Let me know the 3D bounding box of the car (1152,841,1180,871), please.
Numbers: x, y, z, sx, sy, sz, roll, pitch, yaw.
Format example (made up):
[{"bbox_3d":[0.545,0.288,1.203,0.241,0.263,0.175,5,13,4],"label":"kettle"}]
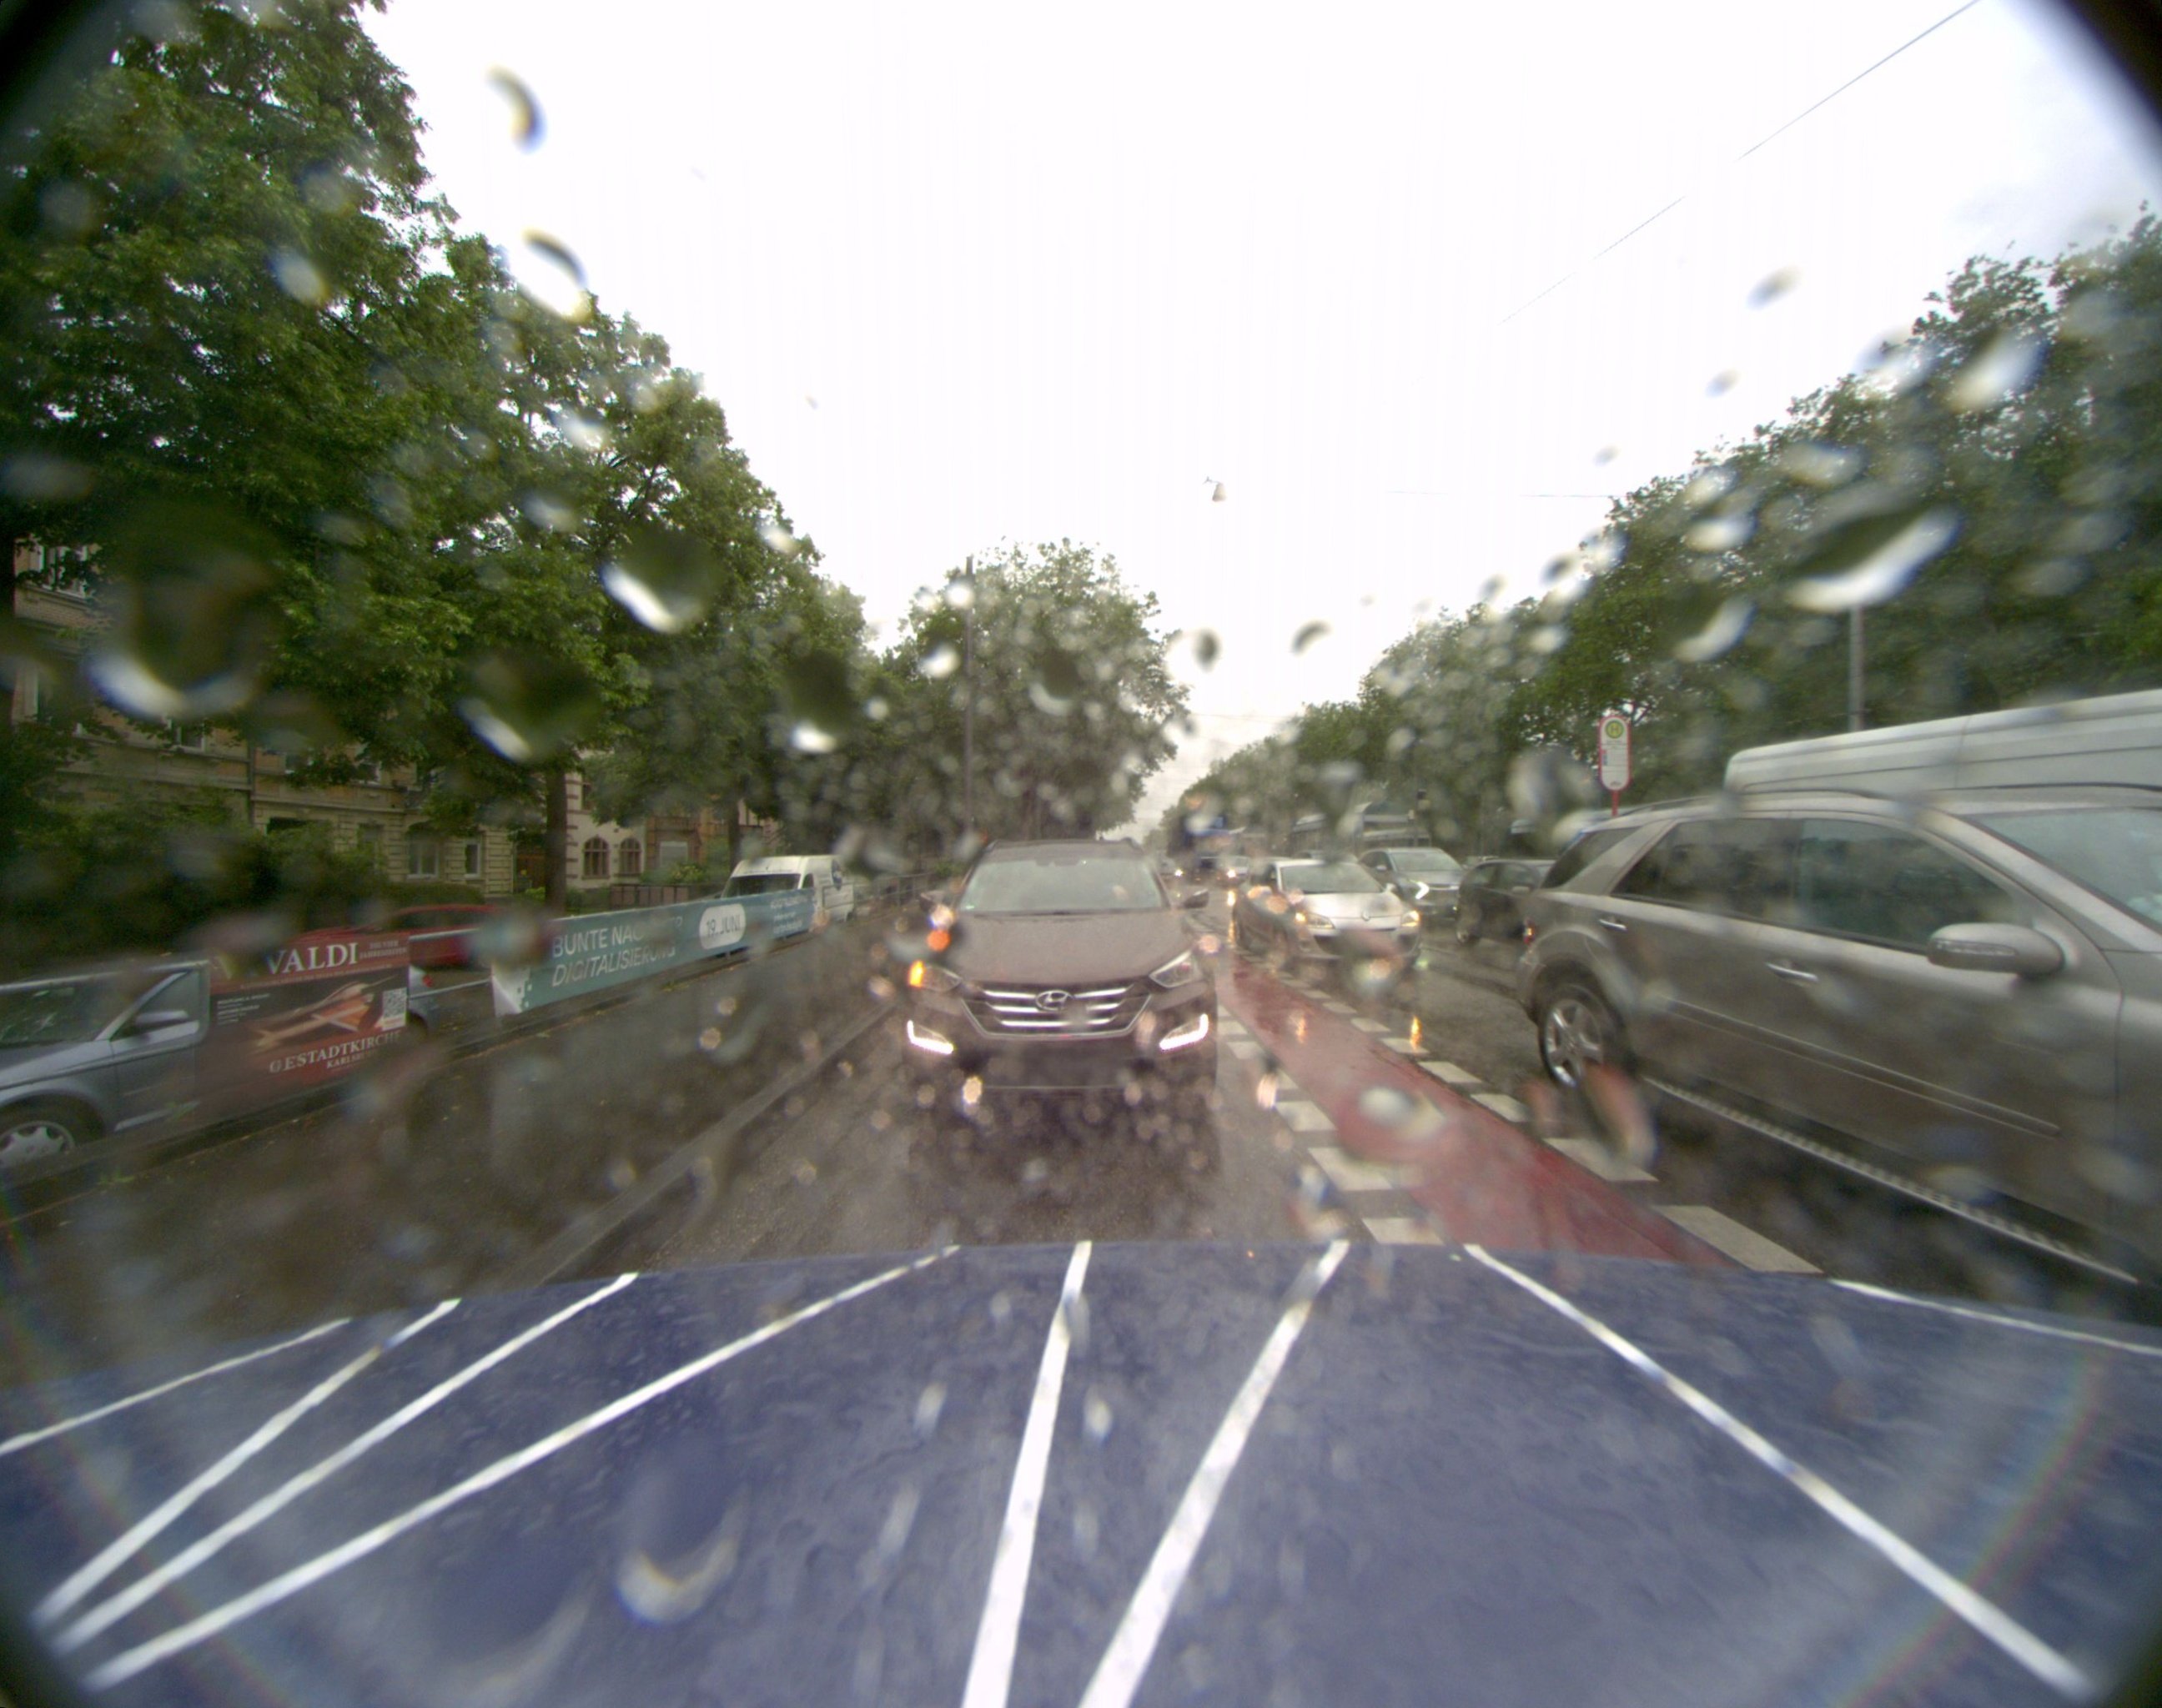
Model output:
[{"bbox_3d":[7.320,0.162,65.826,1.998,2.412,5.727,-2,0,3],"label":"car"}]

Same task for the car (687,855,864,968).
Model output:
[{"bbox_3d":[-7.708,1.279,20.090,2.214,2.406,6.157,-2,0,-2],"label":"car"}]

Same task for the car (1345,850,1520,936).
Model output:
[{"bbox_3d":[7.445,0.730,16.663,1.919,1.614,4.454,0,0,2],"label":"car"}]

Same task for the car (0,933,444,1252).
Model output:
[{"bbox_3d":[-7.238,1.591,5.534,1.736,1.530,4.074,-2,0,-1],"label":"car"}]

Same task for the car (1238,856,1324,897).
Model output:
[{"bbox_3d":[7.520,0.792,29.056,1.999,1.386,4.606,0,0,-1],"label":"car"}]

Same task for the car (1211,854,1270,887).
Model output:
[{"bbox_3d":[7.577,0.751,36.505,1.895,1.478,4.077,-1,0,-1],"label":"car"}]

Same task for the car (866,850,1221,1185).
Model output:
[{"bbox_3d":[-0.126,0.829,5.687,1.756,1.657,3.678,-2,0,2],"label":"car"}]

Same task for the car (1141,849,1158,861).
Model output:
[{"bbox_3d":[7.342,0.083,81.480,1.467,1.185,3.615,-2,0,0],"label":"car"}]

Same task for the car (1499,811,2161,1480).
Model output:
[{"bbox_3d":[3.831,0.735,2.848,2.030,1.760,4.462,-2,0,0],"label":"car"}]

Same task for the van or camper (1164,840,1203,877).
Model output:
[{"bbox_3d":[7.623,0.287,57.106,1.998,2.555,6.431,-2,0,0],"label":"van or camper"}]

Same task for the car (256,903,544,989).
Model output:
[{"bbox_3d":[-14.631,1.922,16.734,4.439,1.444,1.894,0,-1,-32],"label":"car"}]

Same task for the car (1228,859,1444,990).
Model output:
[{"bbox_3d":[3.435,0.859,11.081,1.772,1.469,4.000,-2,0,0],"label":"car"}]

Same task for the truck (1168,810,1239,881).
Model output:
[{"bbox_3d":[7.245,-0.482,46.374,2.545,3.866,9.810,1,0,-1],"label":"truck"}]

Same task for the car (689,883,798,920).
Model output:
[{"bbox_3d":[-14.865,2.054,33.494,4.269,1.372,1.687,-1,1,-27],"label":"car"}]

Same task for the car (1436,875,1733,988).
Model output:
[{"bbox_3d":[6.740,0.948,10.763,1.467,1.111,4.087,-2,0,0],"label":"car"}]

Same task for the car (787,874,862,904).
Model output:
[{"bbox_3d":[-15.729,2.126,46.658,4.006,1.599,1.821,-2,1,-31],"label":"car"}]

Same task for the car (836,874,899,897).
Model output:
[{"bbox_3d":[-15.547,2.244,55.350,4.007,1.455,1.908,-2,1,-34],"label":"car"}]

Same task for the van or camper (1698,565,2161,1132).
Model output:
[{"bbox_3d":[7.035,-0.034,4.354,2.164,3.123,5.850,0,0,-1],"label":"van or camper"}]

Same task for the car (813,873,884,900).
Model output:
[{"bbox_3d":[-15.370,2.127,50.311,4.007,1.557,1.995,-2,1,-34],"label":"car"}]

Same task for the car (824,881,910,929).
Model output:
[{"bbox_3d":[-7.569,1.760,27.308,1.972,1.345,4.383,-3,0,-3],"label":"car"}]

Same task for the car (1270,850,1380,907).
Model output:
[{"bbox_3d":[7.556,0.687,23.994,1.999,1.611,4.319,-1,0,-1],"label":"car"}]

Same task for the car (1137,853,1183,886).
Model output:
[{"bbox_3d":[3.916,0.735,38.314,1.899,1.569,3.999,0,0,0],"label":"car"}]
